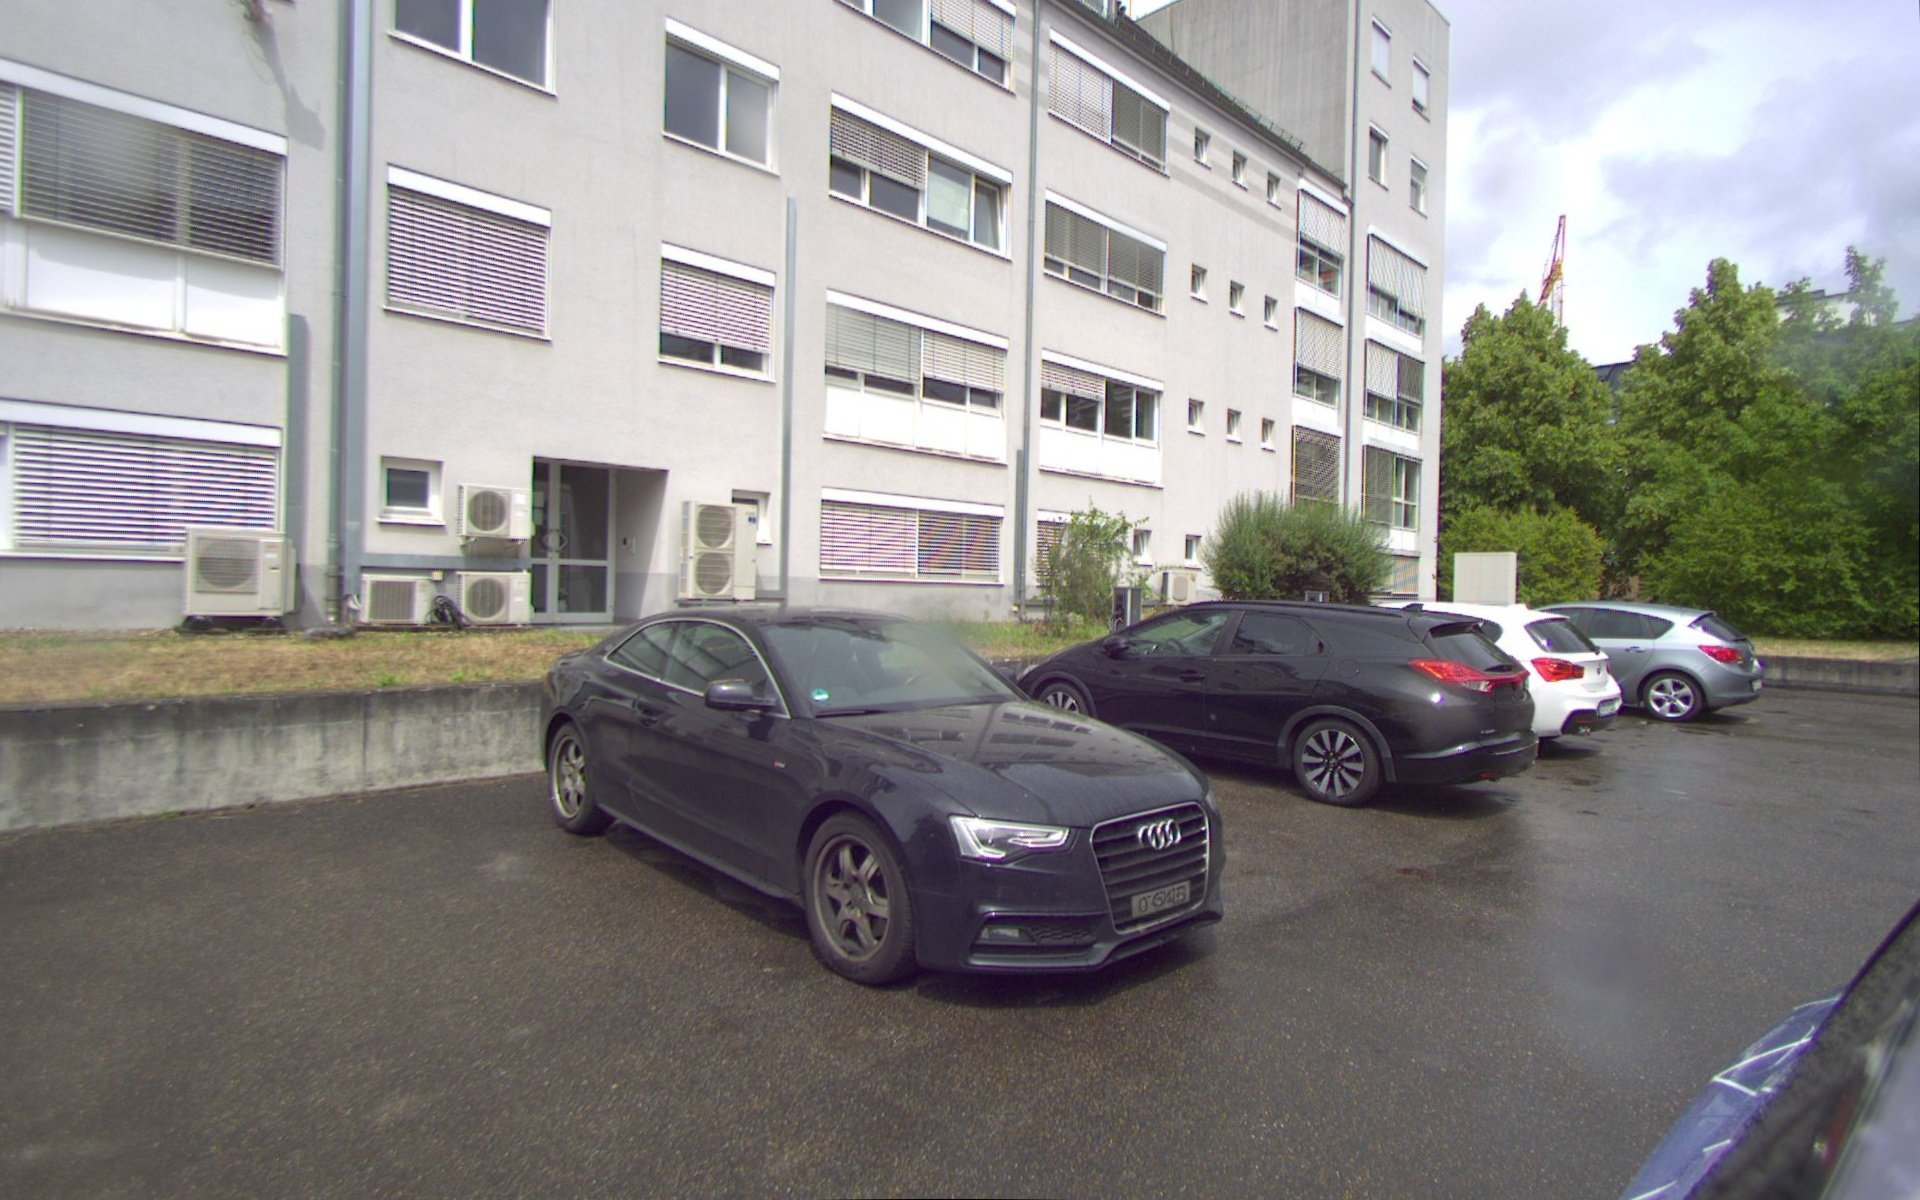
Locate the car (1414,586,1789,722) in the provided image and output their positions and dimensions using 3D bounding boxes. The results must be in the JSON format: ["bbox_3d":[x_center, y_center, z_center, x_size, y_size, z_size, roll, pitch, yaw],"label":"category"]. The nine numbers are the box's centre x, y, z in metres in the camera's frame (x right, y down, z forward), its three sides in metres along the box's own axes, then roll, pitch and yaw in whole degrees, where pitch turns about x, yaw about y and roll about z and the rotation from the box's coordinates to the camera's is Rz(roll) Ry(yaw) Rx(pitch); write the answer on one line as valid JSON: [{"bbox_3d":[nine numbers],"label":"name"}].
[{"bbox_3d":[8.734,0.612,14.077,1.639,1.476,4.088,0,3,-41],"label":"car"}]

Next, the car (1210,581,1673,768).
[{"bbox_3d":[4.971,0.623,10.913,1.801,1.473,4.105,1,2,-41],"label":"car"}]

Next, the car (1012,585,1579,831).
[{"bbox_3d":[2.623,0.662,8.629,1.908,1.418,4.174,0,3,-44],"label":"car"}]

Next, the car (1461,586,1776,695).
[{"bbox_3d":[10.791,0.570,16.836,1.758,1.371,3.999,1,3,-38],"label":"car"}]

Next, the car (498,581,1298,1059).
[{"bbox_3d":[-0.700,0.671,5.369,1.829,1.365,4.358,1,1,-44],"label":"car"}]
